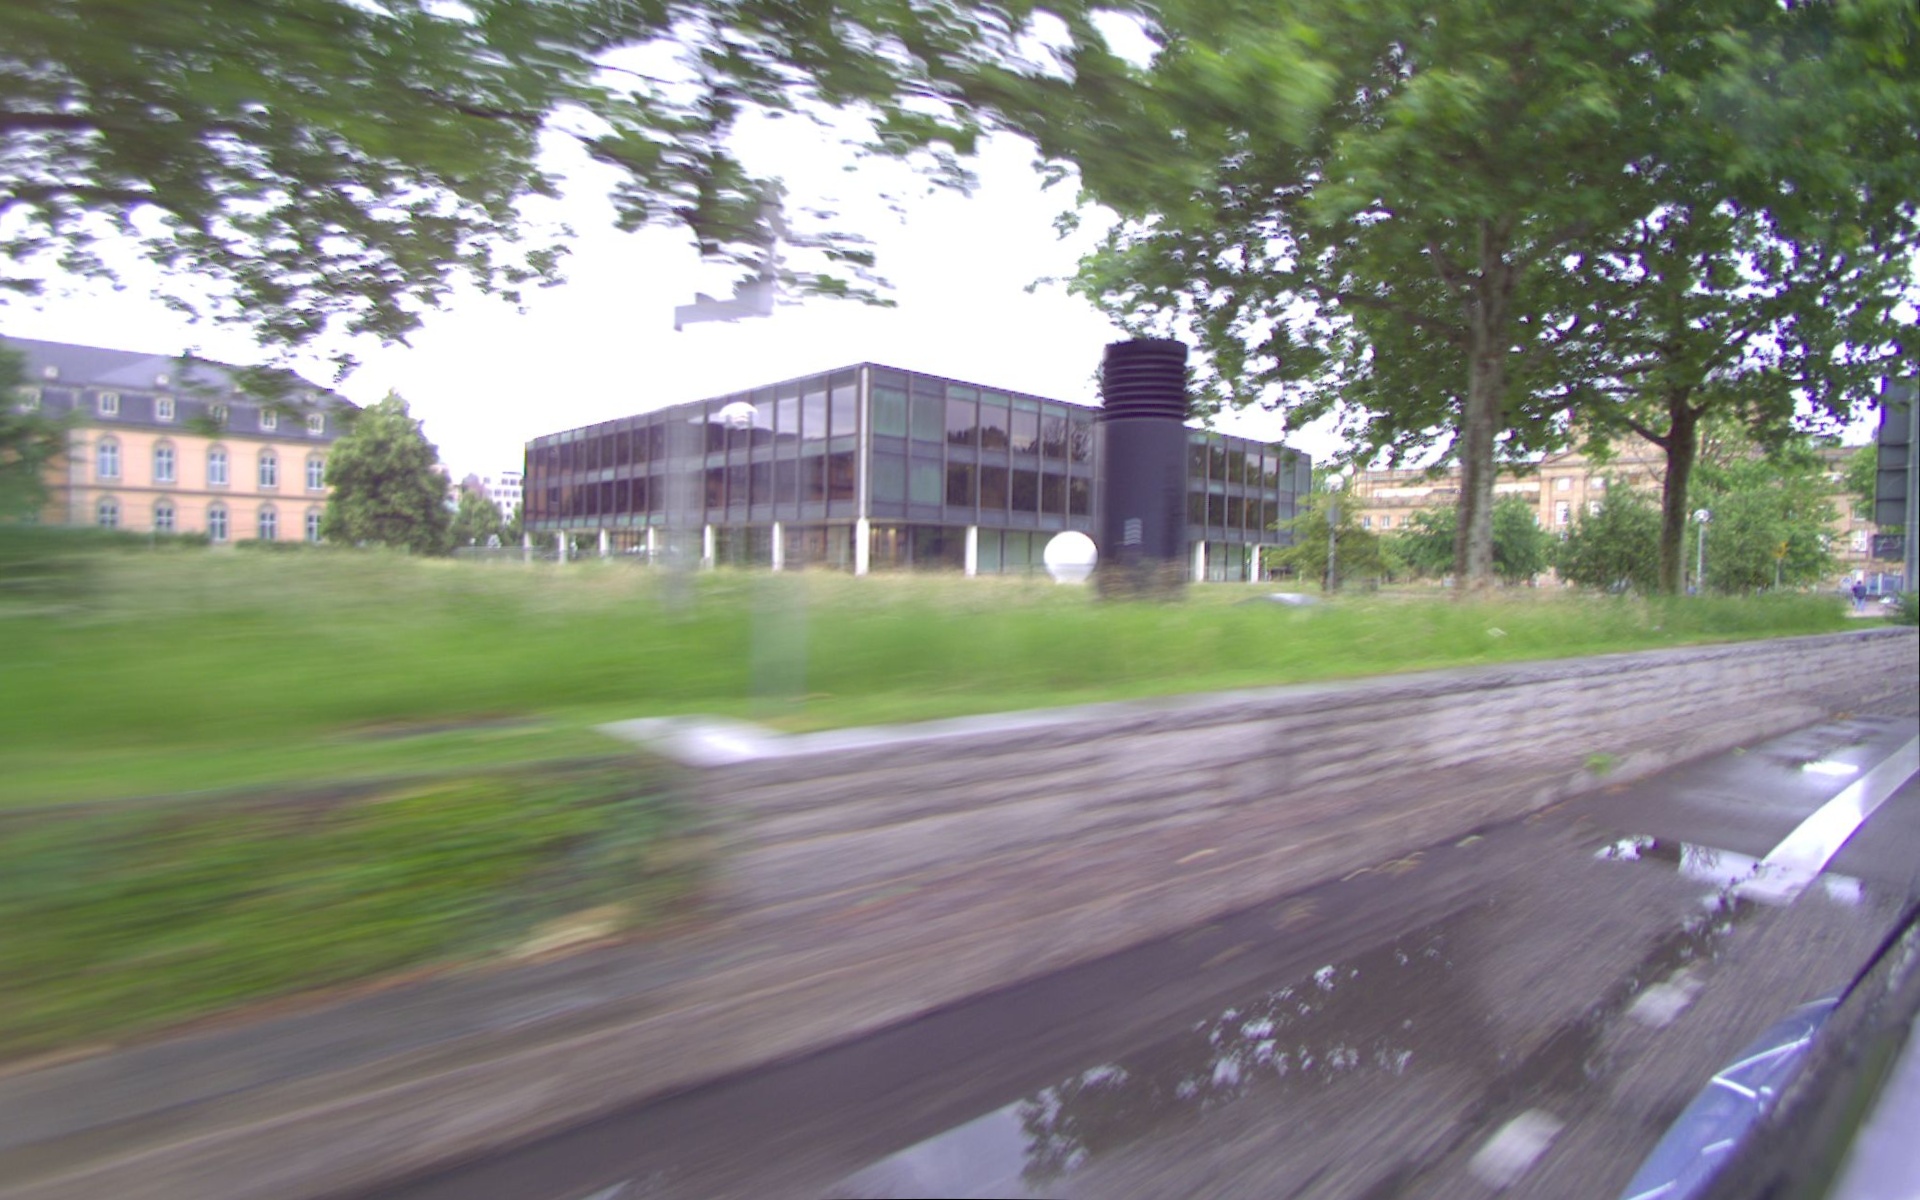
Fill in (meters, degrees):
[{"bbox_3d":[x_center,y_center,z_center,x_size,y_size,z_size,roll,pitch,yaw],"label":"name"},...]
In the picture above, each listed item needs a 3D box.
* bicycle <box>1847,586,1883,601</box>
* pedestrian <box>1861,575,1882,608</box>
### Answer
[{"bbox_3d":[63.089,-0.460,70.570,1.741,1.079,0.820,0,0,30],"label":"bicycle"},{"bbox_3d":[47.781,-0.451,53.049,0.666,1.685,0.582,2,2,33],"label":"pedestrian"}]
